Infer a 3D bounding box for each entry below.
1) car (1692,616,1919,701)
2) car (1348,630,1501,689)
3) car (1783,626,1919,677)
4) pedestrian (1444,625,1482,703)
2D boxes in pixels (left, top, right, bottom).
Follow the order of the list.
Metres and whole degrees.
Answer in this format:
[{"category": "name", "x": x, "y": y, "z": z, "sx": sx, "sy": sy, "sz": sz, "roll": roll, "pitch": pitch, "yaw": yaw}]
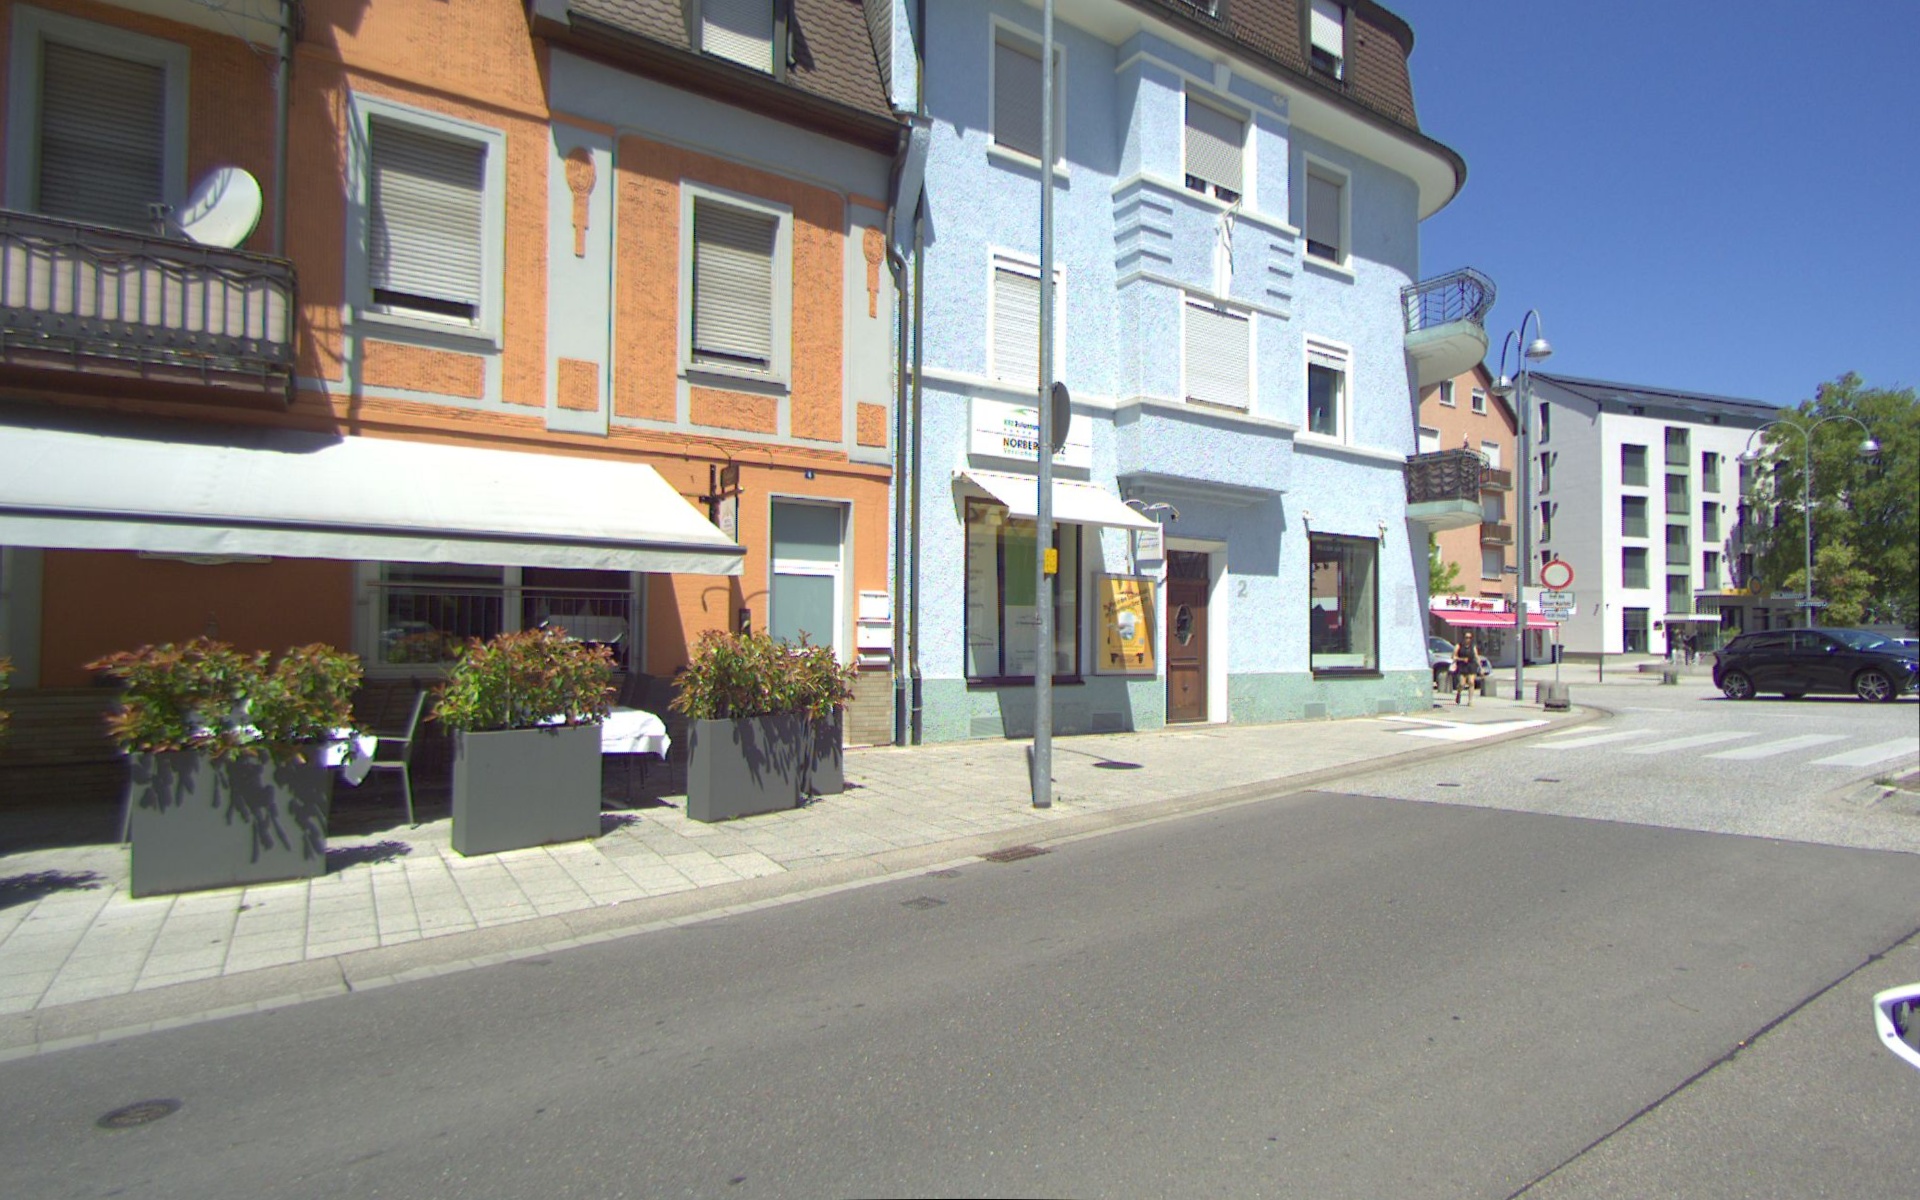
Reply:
[{"category": "car", "x": 18.051, "y": 1.232, "z": 20.962, "sx": 1.781, "sy": 1.567, "sz": 4.253, "roll": -2, "pitch": -4, "yaw": -14}, {"category": "car", "x": 14.847, "y": 1.886, "z": 32.346, "sx": 1.816, "sy": 1.710, "sz": 4.168, "roll": -1, "pitch": -2, "yaw": -31}, {"category": "car", "x": 26.970, "y": 1.547, "z": 29.928, "sx": 3.400, "sy": 1.469, "sz": 1.581, "roll": -1, "pitch": -3, "yaw": 12}, {"category": "pedestrian", "x": 10.417, "y": 1.323, "z": 20.821, "sx": 0.535, "sy": 1.606, "sz": 0.515, "roll": -1, "pitch": -2, "yaw": 10}]
